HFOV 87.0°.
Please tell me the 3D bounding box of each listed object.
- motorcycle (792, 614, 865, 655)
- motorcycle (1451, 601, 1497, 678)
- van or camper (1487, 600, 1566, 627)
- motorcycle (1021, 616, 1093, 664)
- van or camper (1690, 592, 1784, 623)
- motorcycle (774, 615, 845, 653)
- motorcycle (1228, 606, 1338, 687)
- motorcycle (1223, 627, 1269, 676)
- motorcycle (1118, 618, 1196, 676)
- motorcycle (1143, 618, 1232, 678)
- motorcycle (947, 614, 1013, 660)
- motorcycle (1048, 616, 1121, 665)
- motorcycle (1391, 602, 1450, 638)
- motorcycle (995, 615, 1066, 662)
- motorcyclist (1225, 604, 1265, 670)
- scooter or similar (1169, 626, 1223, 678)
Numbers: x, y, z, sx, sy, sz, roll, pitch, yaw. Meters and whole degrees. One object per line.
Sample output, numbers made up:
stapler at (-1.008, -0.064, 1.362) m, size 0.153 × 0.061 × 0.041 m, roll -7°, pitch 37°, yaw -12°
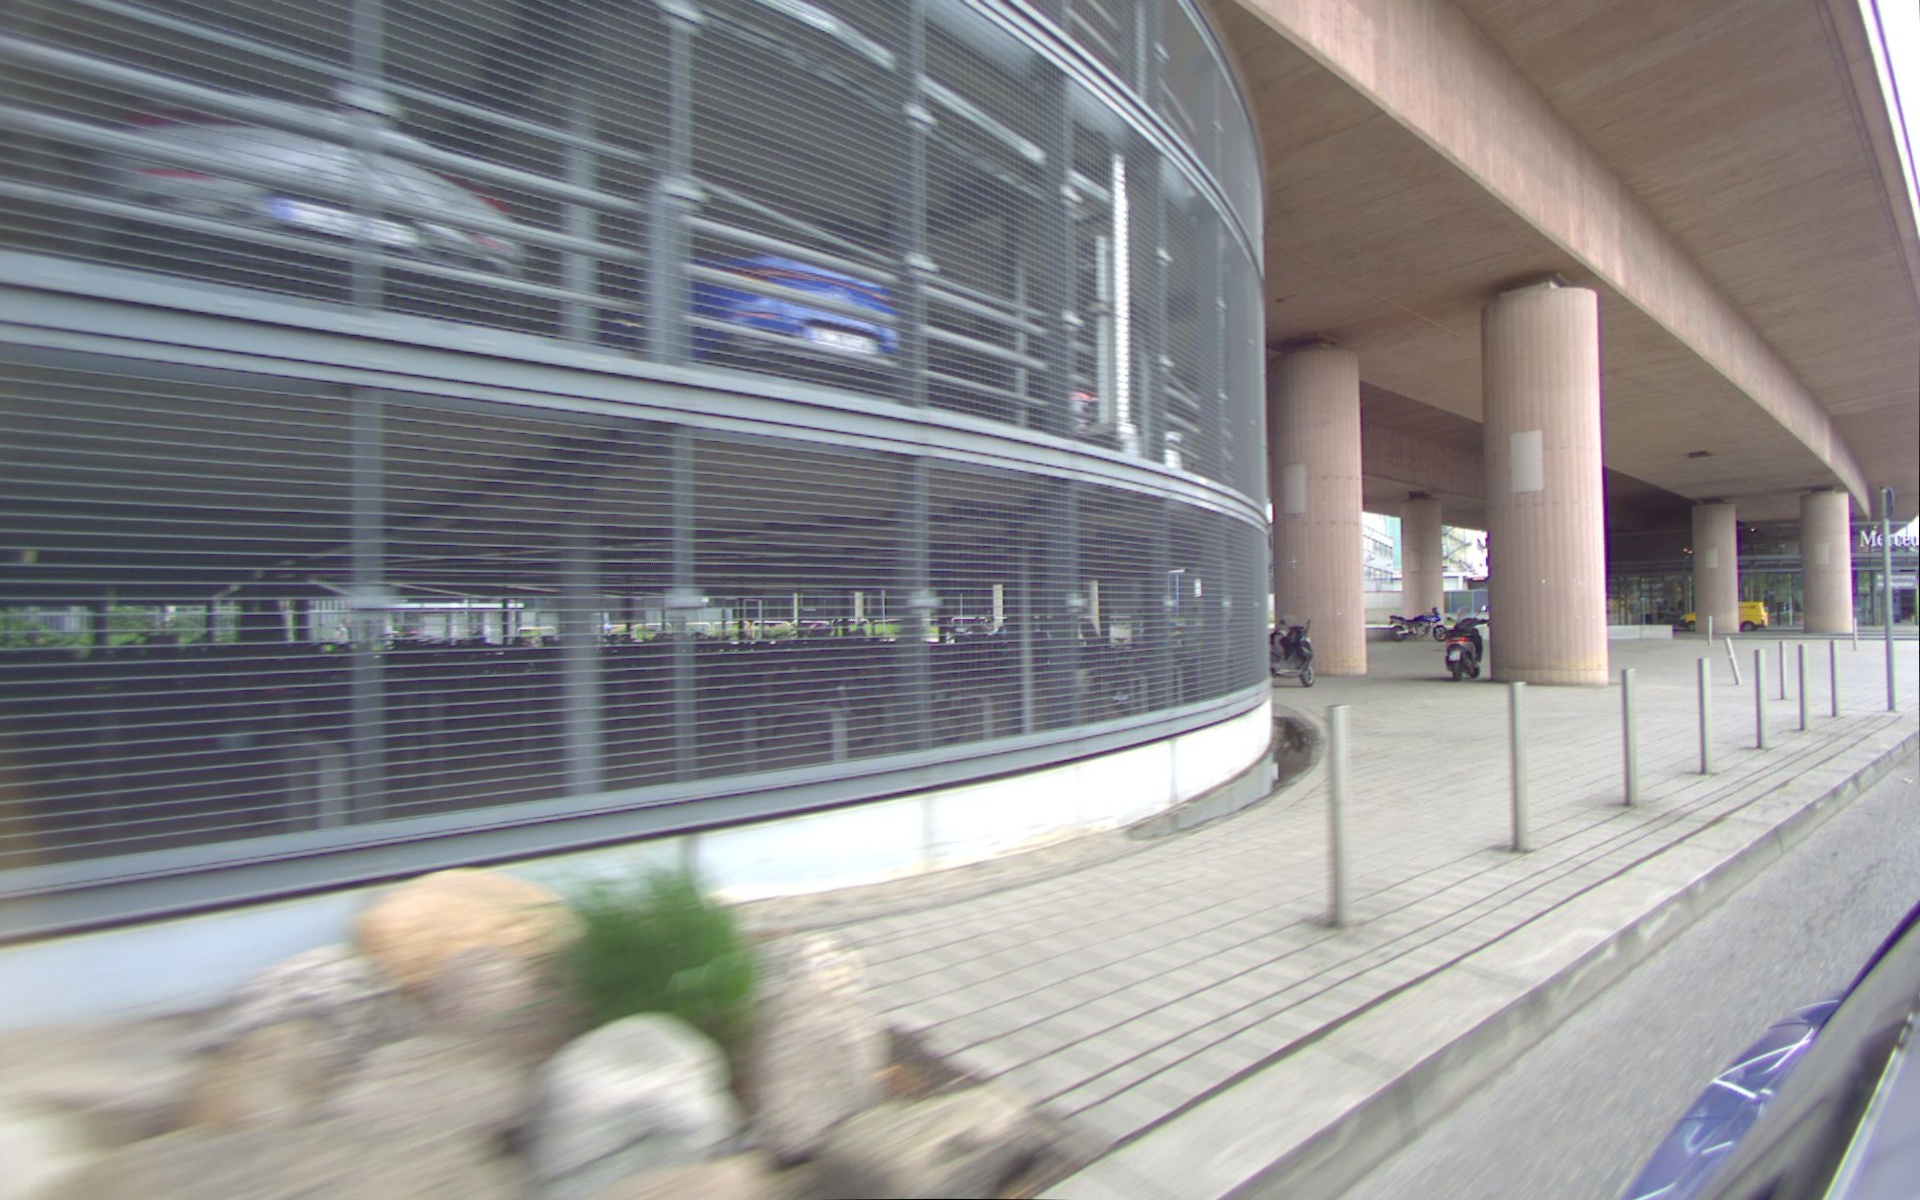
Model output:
motorcycle at (-4.236, 1.108, 32.709) m, size 2.321 × 1.292 × 0.673 m, roll 2°, pitch -2°, yaw -40°
motorcycle at (10.269, 0.778, 20.197) m, size 0.639 × 1.474 × 1.741 m, roll -1°, pitch -2°, yaw 33°
van or camper at (41.434, 1.011, 74.141) m, size 4.849 × 1.917 × 2.135 m, roll 0°, pitch -2°, yaw 25°
motorcycle at (2.619, 1.063, 27.126) m, size 2.041 × 1.236 × 0.673 m, roll 2°, pitch -2°, yaw -40°
van or camper at (51.448, 0.525, 67.066) m, size 2.320 × 2.025 × 4.498 m, roll 1°, pitch -2°, yaw -39°
motorcycle at (-5.035, 1.146, 33.967) m, size 2.321 × 1.236 × 0.673 m, roll 2°, pitch -2°, yaw -40°
motorcycle at (6.058, 0.837, 18.940) m, size 2.125 × 1.438 × 0.632 m, roll 0°, pitch -1°, yaw -27°
motorcycle at (6.461, 1.142, 22.835) m, size 0.740 × 1.036 × 1.940 m, roll 0°, pitch -2°, yaw 24°
motorcycle at (4.710, 1.091, 24.115) m, size 2.091 × 1.319 × 0.607 m, roll 0°, pitch -1°, yaw -38°
motorcycle at (5.293, 1.088, 23.522) m, size 2.081 × 1.327 × 0.609 m, roll 0°, pitch -1°, yaw -27°
motorcycle at (0.611, 1.093, 30.084) m, size 2.041 × 1.302 × 0.673 m, roll 2°, pitch -2°, yaw -40°
motorcycle at (3.247, 1.037, 26.236) m, size 2.041 × 1.236 × 0.673 m, roll 2°, pitch -2°, yaw -40°
motorcycle at (16.688, 0.722, 36.684) m, size 1.923 × 1.281 × 0.543 m, roll 0°, pitch -2°, yaw 29°
motorcycle at (1.964, 1.055, 27.977) m, size 2.041 × 1.236 × 0.673 m, roll 2°, pitch -2°, yaw -40°
motorcyclist at (6.417, 0.818, 22.750) m, size 0.756 × 1.438 × 0.862 m, roll 0°, pitch -2°, yaw 24°
scooter or similar at (5.290, 1.160, 22.661) m, size 1.225 × 1.148 × 0.400 m, roll 2°, pitch -2°, yaw -30°
